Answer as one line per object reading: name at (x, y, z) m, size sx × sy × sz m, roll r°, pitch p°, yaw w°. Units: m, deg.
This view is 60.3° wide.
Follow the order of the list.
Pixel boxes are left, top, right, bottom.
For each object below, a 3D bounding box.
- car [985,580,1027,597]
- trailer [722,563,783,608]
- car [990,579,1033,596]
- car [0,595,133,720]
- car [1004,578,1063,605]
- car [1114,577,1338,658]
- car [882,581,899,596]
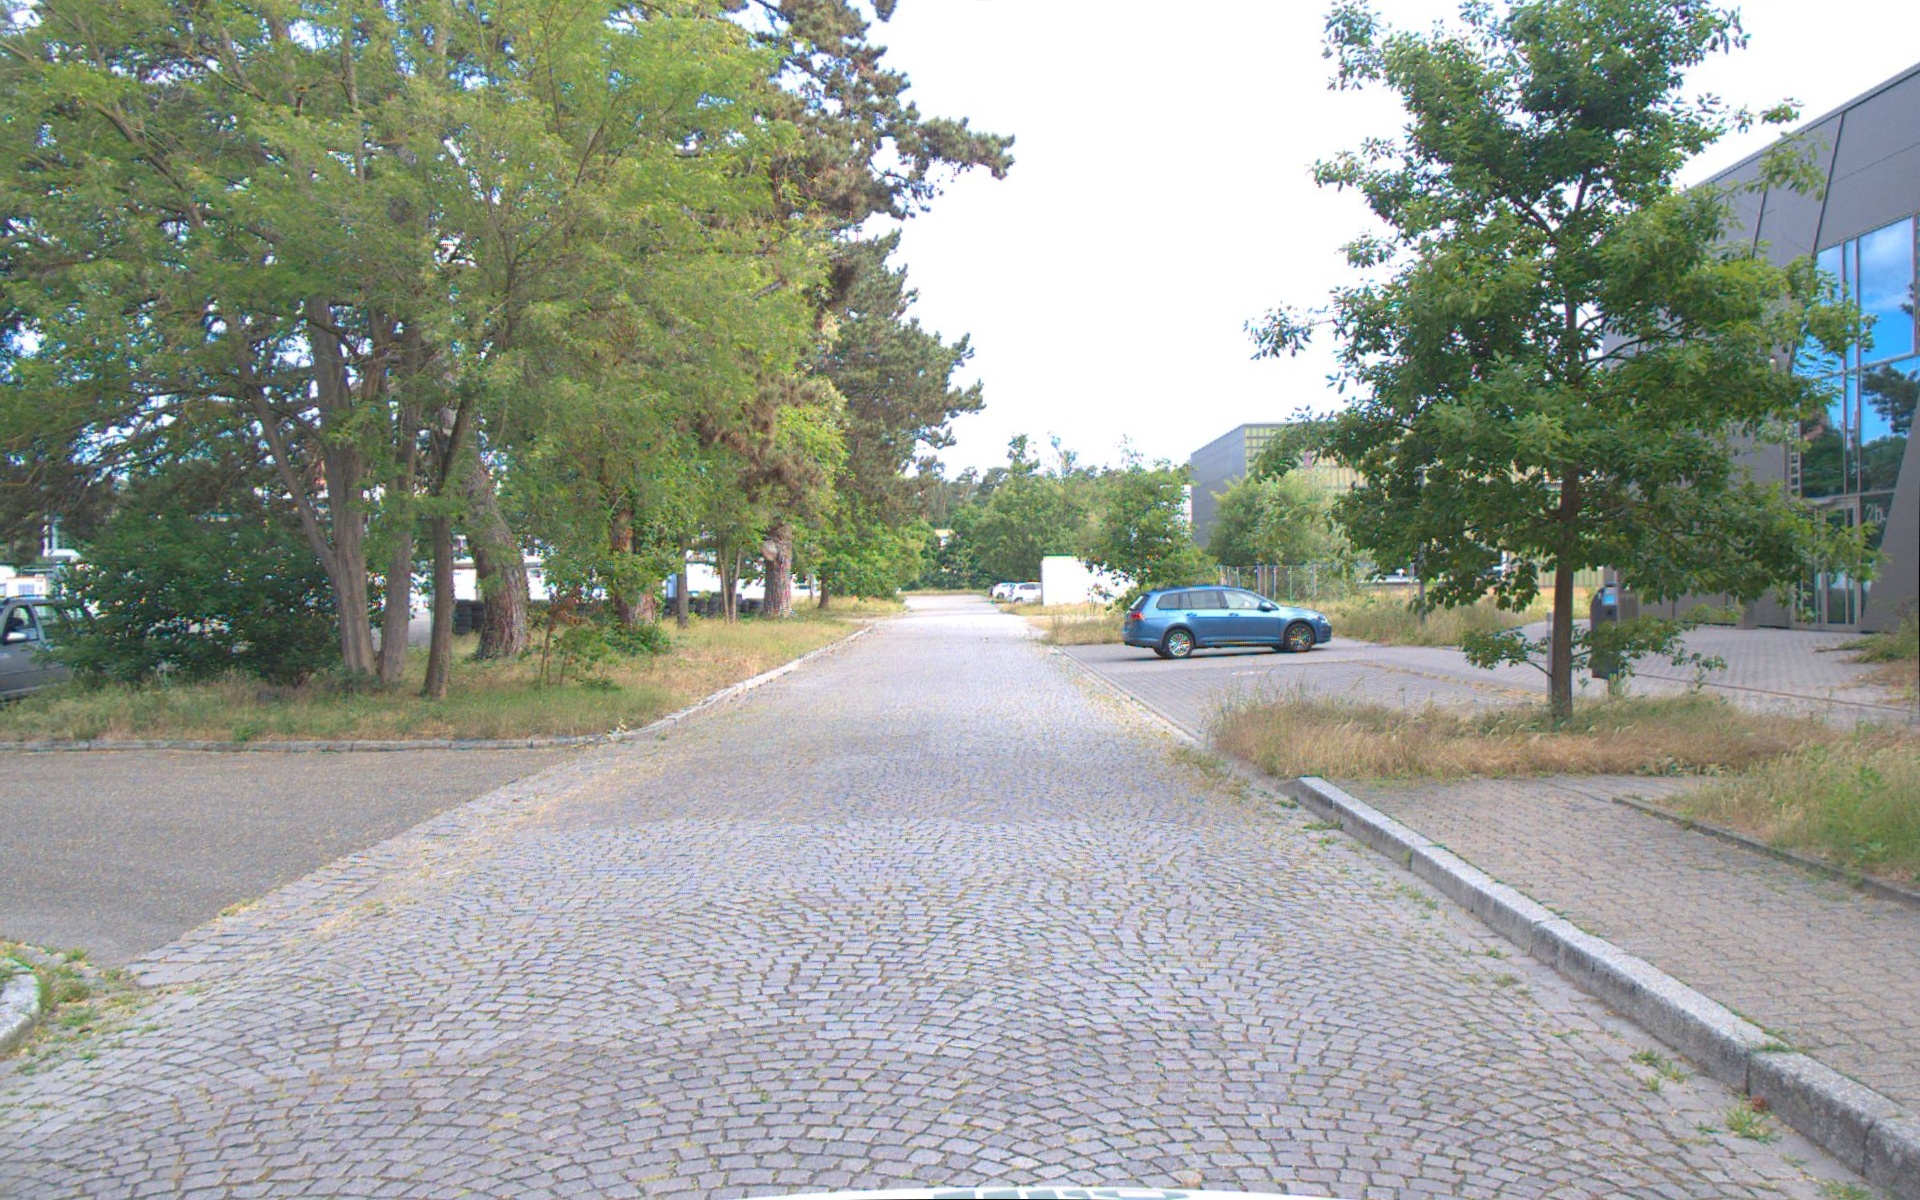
car at (4.457, -1.118, 160.868) m, size 3.907 × 1.629 × 1.728 m, roll -1°, pitch 0°, yaw -3°
trailer at (-15.157, -1.098, 121.653) m, size 3.093 × 3.121 × 8.786 m, roll -1°, pitch 1°, yaw 2°
car at (4.802, -1.185, 155.316) m, size 3.942 × 1.528 × 1.548 m, roll -1°, pitch 0°, yaw 0°
car at (-12.380, 0.704, 20.986) m, size 1.681 × 1.463 × 4.465 m, roll -1°, pitch 1°, yaw -3°
car at (4.844, -0.571, 109.167) m, size 3.773 × 1.683 × 1.685 m, roll -1°, pitch 0°, yaw -3°
car at (5.680, 0.350, 35.628) m, size 4.433 × 1.468 × 1.822 m, roll -3°, pitch 1°, yaw -4°
car at (-7.726, -1.284, 183.615) m, size 1.767 × 1.561 × 3.998 m, roll -1°, pitch 1°, yaw -3°
